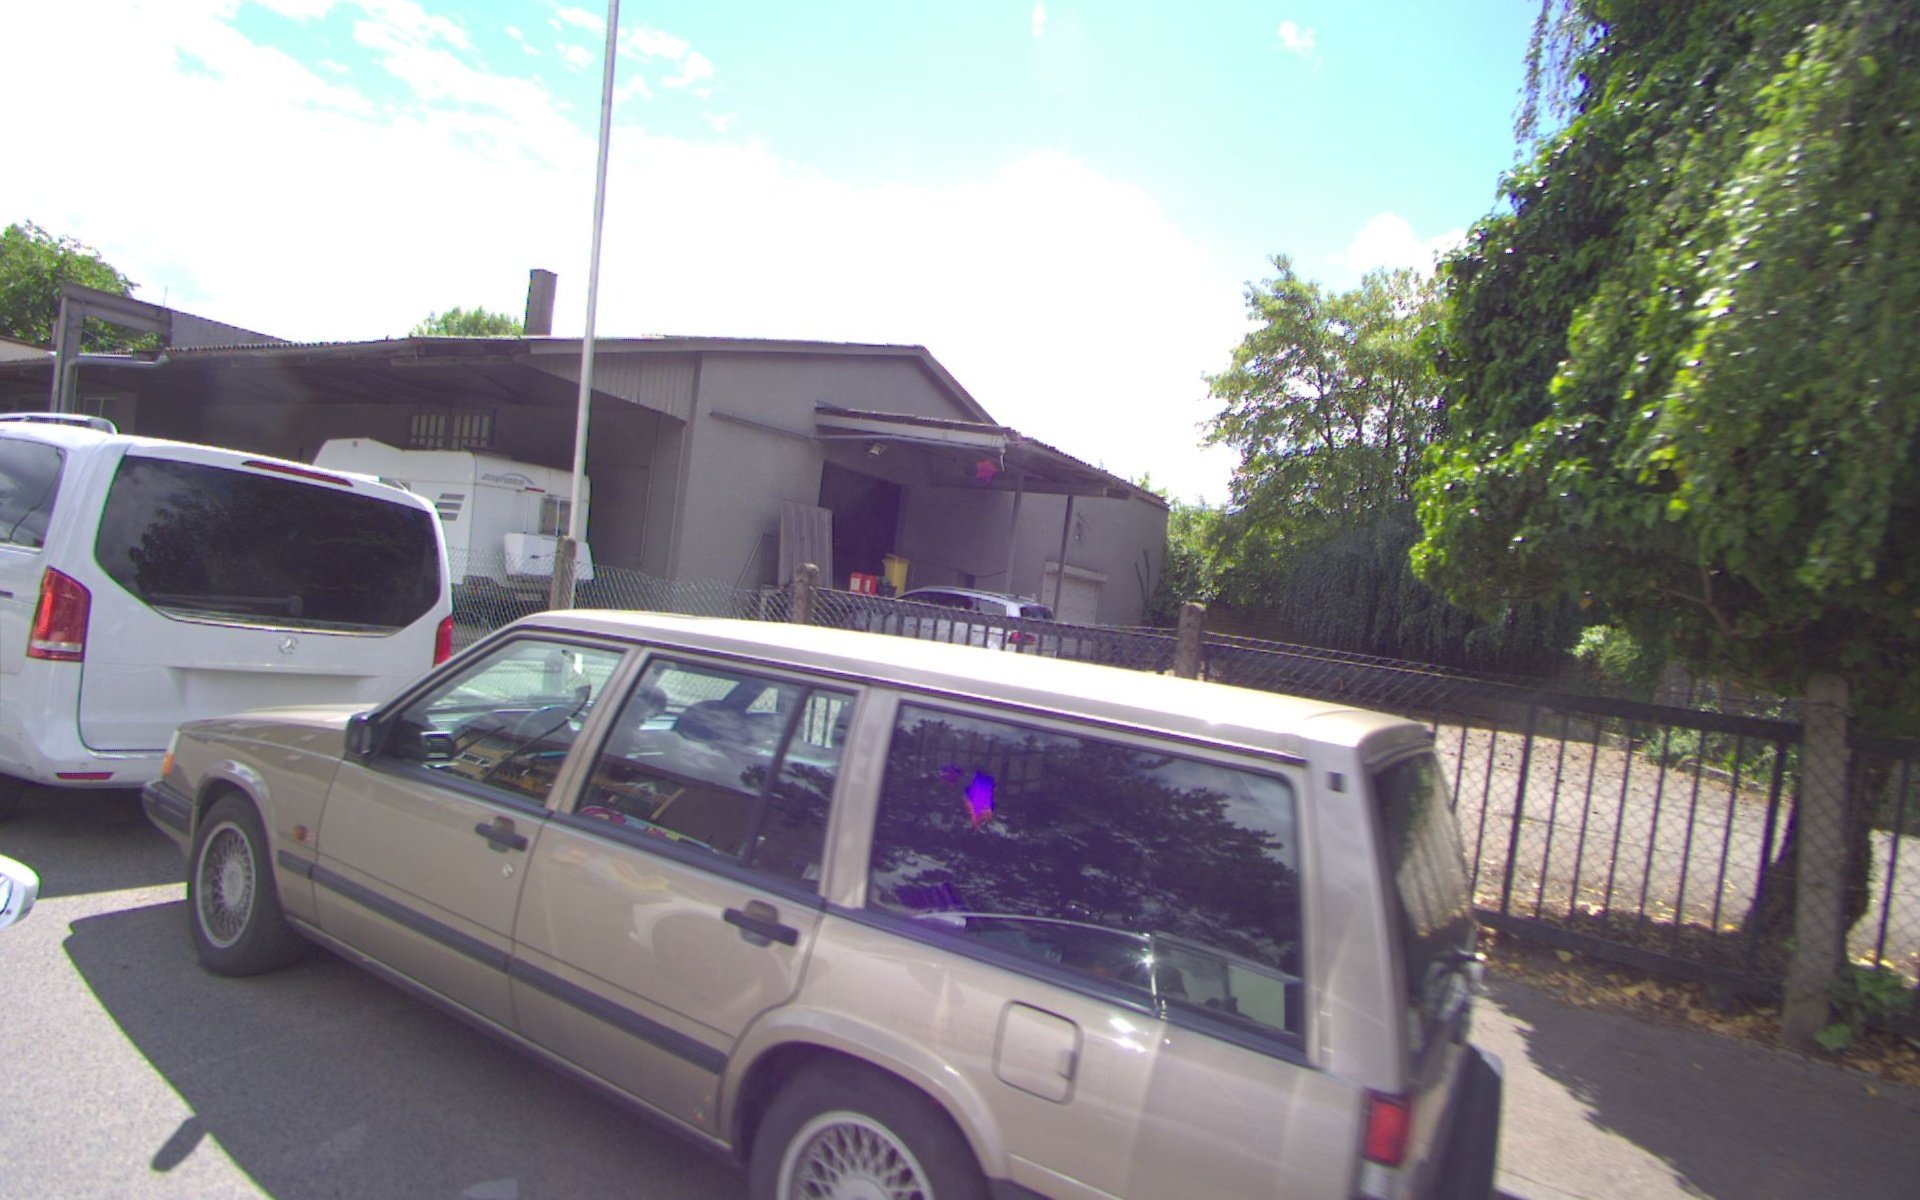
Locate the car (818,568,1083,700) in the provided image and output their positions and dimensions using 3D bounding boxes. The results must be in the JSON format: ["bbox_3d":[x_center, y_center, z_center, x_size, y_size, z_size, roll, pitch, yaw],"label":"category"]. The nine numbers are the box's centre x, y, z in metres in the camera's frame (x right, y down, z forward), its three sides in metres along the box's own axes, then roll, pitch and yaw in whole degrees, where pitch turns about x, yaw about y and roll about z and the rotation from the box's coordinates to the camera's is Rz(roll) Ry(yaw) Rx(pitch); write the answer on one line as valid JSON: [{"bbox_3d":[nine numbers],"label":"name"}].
[{"bbox_3d":[-0.257,0.603,19.390,4.733,1.774,1.819,9,1,33],"label":"car"}]

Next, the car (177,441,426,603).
[{"bbox_3d":[-13.959,-1.685,21.231,5.404,2.715,2.020,8,1,30],"label":"car"}]

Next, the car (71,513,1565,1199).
[{"bbox_3d":[-0.893,0.718,3.406,4.912,1.467,1.758,7,-2,32],"label":"car"}]

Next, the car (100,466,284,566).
[{"bbox_3d":[-19.356,-2.136,25.298,4.772,1.934,1.996,7,1,32],"label":"car"}]

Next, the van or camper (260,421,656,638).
[{"bbox_3d":[-9.044,-1.303,17.922,6.797,3.099,2.885,7,0,31],"label":"van or camper"}]

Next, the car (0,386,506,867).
[{"bbox_3d":[-5.384,-0.072,6.141,5.299,1.907,1.909,7,-1,31],"label":"car"}]
